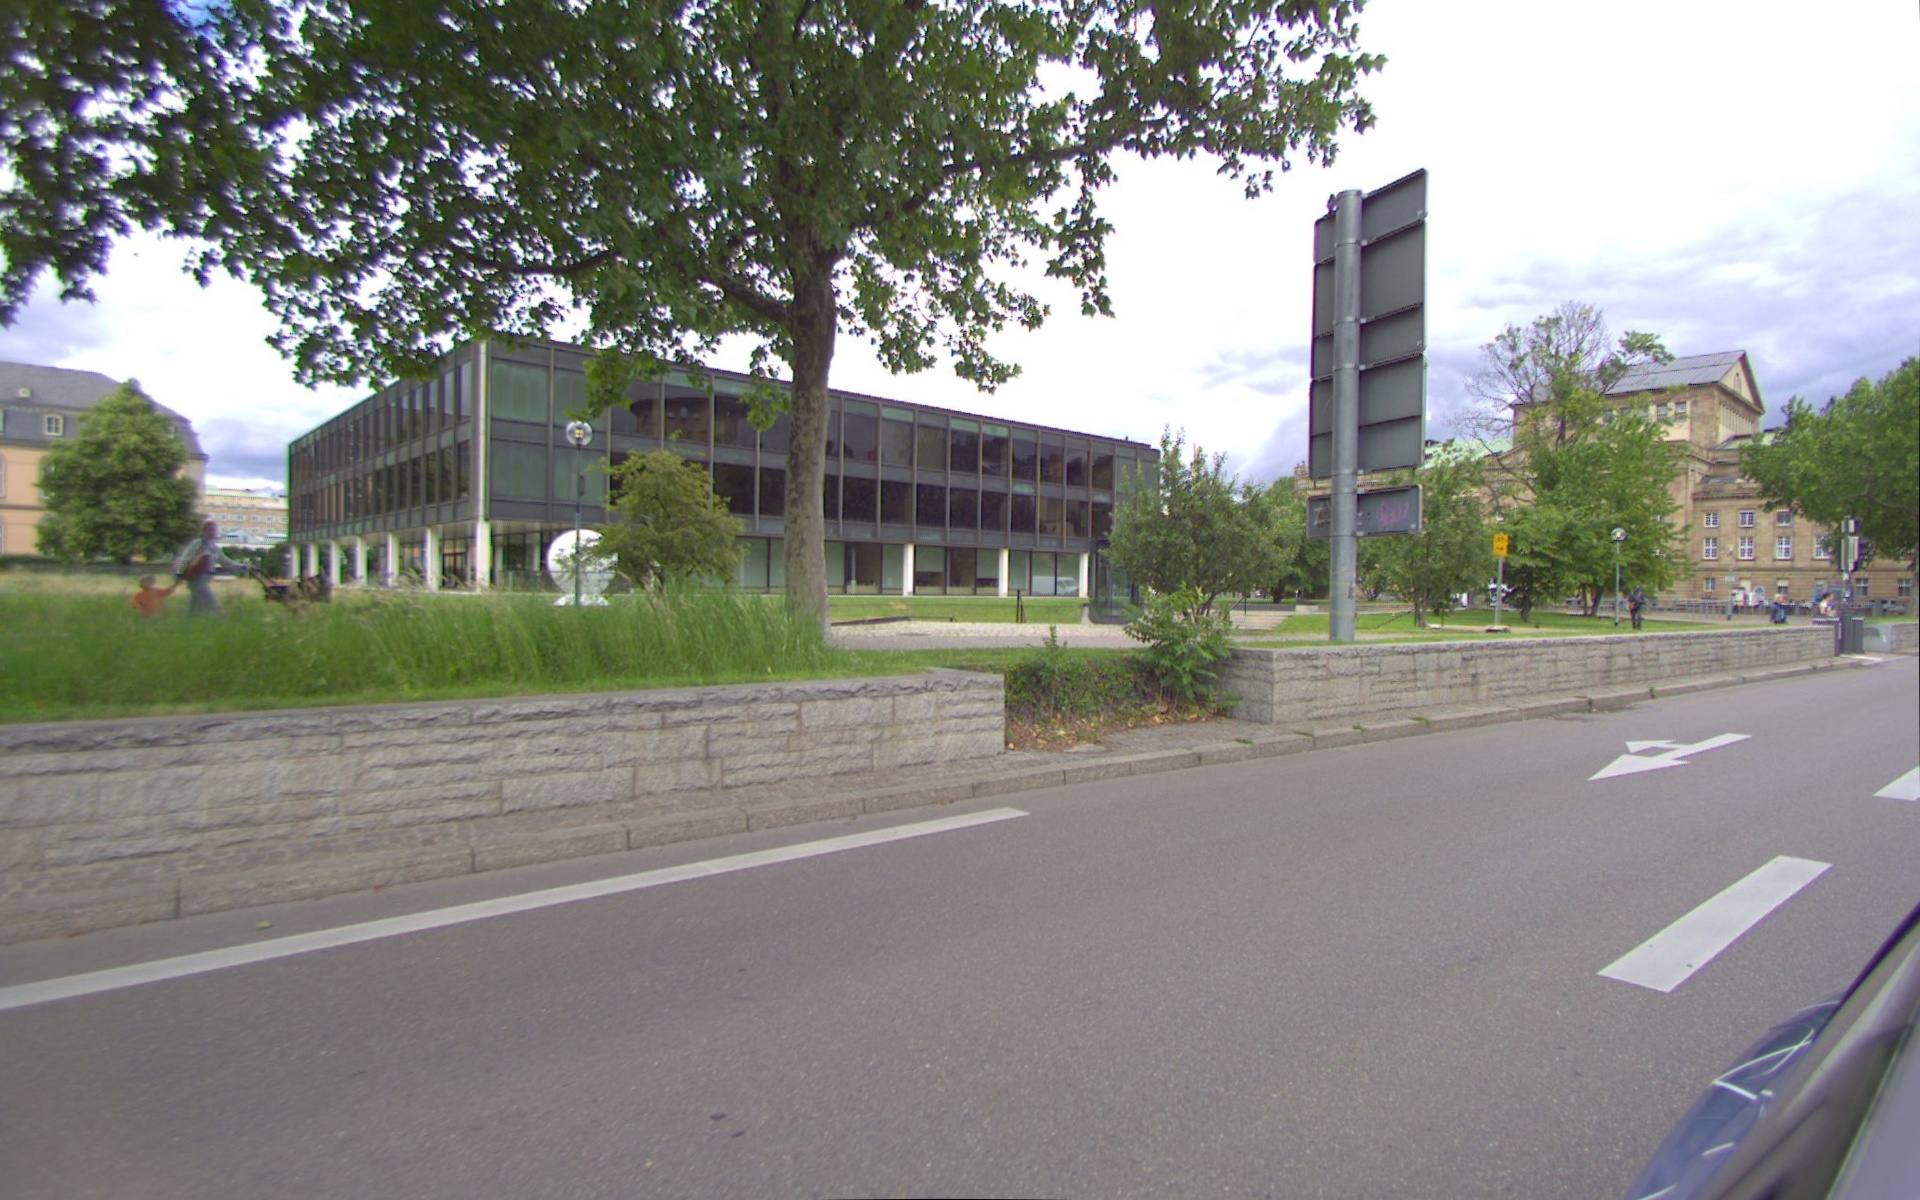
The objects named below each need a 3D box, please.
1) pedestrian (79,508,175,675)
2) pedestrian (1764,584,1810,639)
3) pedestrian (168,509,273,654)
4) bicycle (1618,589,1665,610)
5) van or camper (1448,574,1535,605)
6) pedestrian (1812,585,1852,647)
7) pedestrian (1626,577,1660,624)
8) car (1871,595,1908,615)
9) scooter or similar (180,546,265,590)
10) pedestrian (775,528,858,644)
[{"bbox_3d":[-10.630,-0.105,12.929,0.916,2.039,0.571,0,-1,-40],"label":"pedestrian"},{"bbox_3d":[24.469,0.345,29.964,0.889,1.581,0.686,1,1,-23],"label":"pedestrian"},{"bbox_3d":[-10.003,-0.235,13.682,1.013,1.860,0.997,0,-1,-44],"label":"pedestrian"},{"bbox_3d":[40.458,-0.039,60.120,0.673,1.156,2.196,1,1,-40],"label":"bicycle"},{"bbox_3d":[42.445,-0.854,80.897,2.280,2.348,5.706,-2,1,-41],"label":"van or camper"},{"bbox_3d":[24.020,0.427,27.880,0.672,1.677,0.698,0,-1,-41],"label":"pedestrian"},{"bbox_3d":[24.403,0.011,36.172,0.614,1.646,0.805,1,0,-33],"label":"pedestrian"},{"bbox_3d":[79.243,0.422,86.243,4.141,1.537,1.767,2,0,-40],"label":"car"},{"bbox_3d":[-9.898,-0.420,13.576,0.881,0.559,0.619,-1,-1,-40],"label":"scooter or similar"},{"bbox_3d":[-2.283,-0.205,16.077,0.952,1.755,0.897,0,-2,-40],"label":"pedestrian"}]
